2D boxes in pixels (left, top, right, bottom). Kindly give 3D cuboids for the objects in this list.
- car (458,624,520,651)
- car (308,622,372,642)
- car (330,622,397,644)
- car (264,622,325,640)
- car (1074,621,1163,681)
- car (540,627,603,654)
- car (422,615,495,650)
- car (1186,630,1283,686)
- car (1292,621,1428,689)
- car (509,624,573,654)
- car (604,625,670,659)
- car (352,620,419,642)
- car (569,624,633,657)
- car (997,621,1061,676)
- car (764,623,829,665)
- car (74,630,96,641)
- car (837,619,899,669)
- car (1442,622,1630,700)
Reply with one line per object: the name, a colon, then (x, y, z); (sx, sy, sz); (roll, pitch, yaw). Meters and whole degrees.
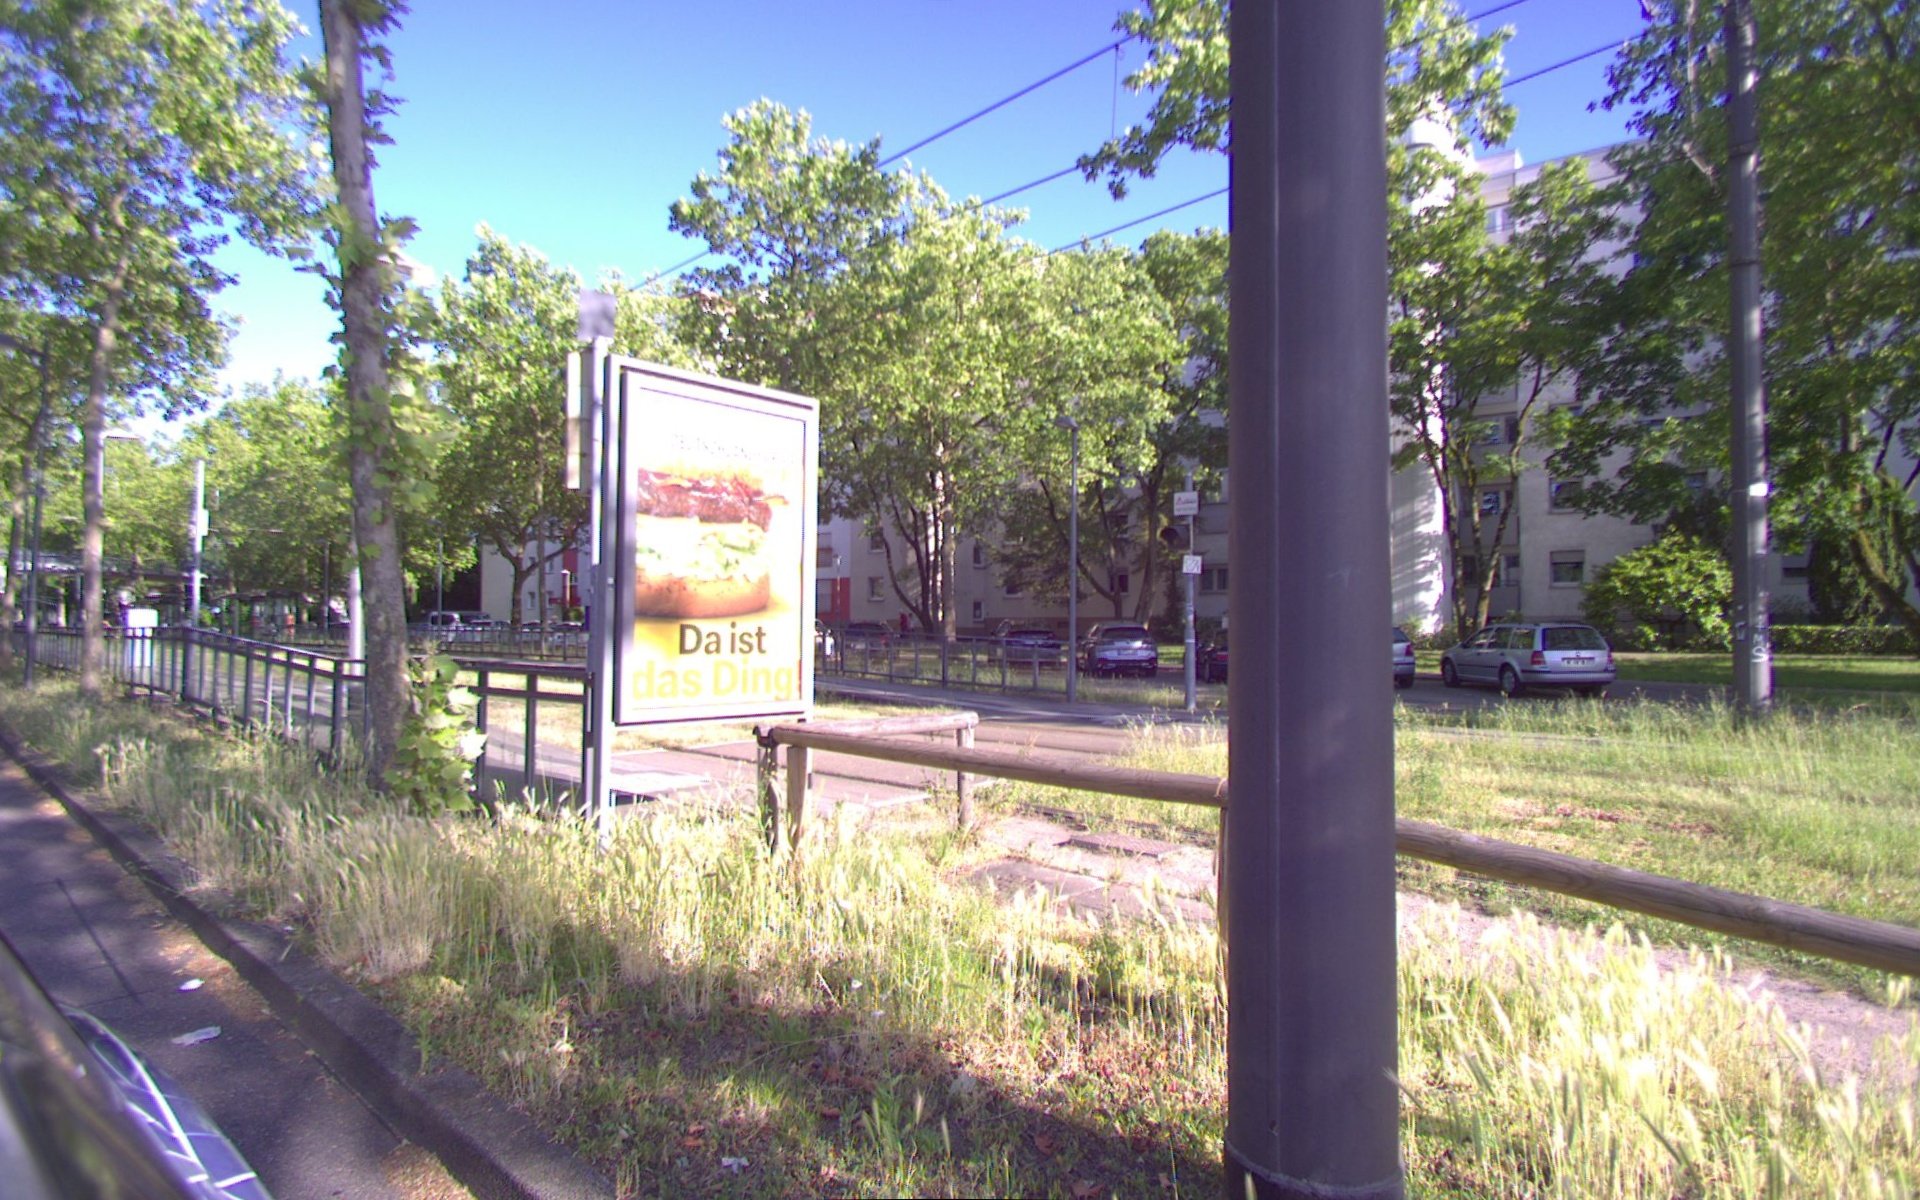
car: (-25.783, 2.029, 55.509); (1.627, 1.407, 3.680); (0, -1, 1)
car: (-44.629, 2.275, 72.974); (1.898, 1.386, 4.365); (0, -1, 1)
car: (-40.267, 2.198, 68.382); (1.898, 1.386, 4.365); (0, -1, 1)
car: (-52.131, 2.397, 79.355); (1.898, 1.386, 4.365); (0, -1, 1)
car: (4.222, 1.341, 27.484); (1.894, 1.507, 3.680); (0, -1, 2)
car: (-19.030, 1.975, 49.657); (1.627, 1.251, 3.680); (0, -1, 1)
car: (-28.311, 1.820, 57.318); (1.898, 1.898, 4.365); (0, -1, 1)
car: (6.745, 1.396, 25.198); (1.602, 1.256, 3.677); (0, -1, 4)
car: (9.169, 1.214, 23.518); (1.679, 1.444, 3.681); (0, -1, 1)
car: (-21.108, 1.953, 51.124); (1.627, 1.460, 3.680); (0, -1, 1)
car: (-14.067, 1.814, 44.271); (1.627, 1.403, 3.679); (0, -1, 2)
car: (-37.782, 2.010, 66.673); (1.898, 1.386, 4.365); (0, -1, 1)
car: (-16.666, 1.837, 47.127); (1.627, 1.460, 3.680); (0, -1, 1)
car: (1.949, 1.362, 29.437); (1.664, 1.482, 3.680); (0, -1, 1)
car: (-5.893, 1.566, 36.909); (1.664, 1.444, 3.679); (0, -1, 2)
car: (-109.052, 4.416, 126.111); (3.294, 1.370, 1.651); (-1, -2, 41)
car: (-3.092, 1.453, 34.459); (1.664, 1.579, 3.679); (0, -1, 2)
car: (11.564, 1.172, 20.619); (1.707, 1.444, 3.681); (0, -1, 1)
